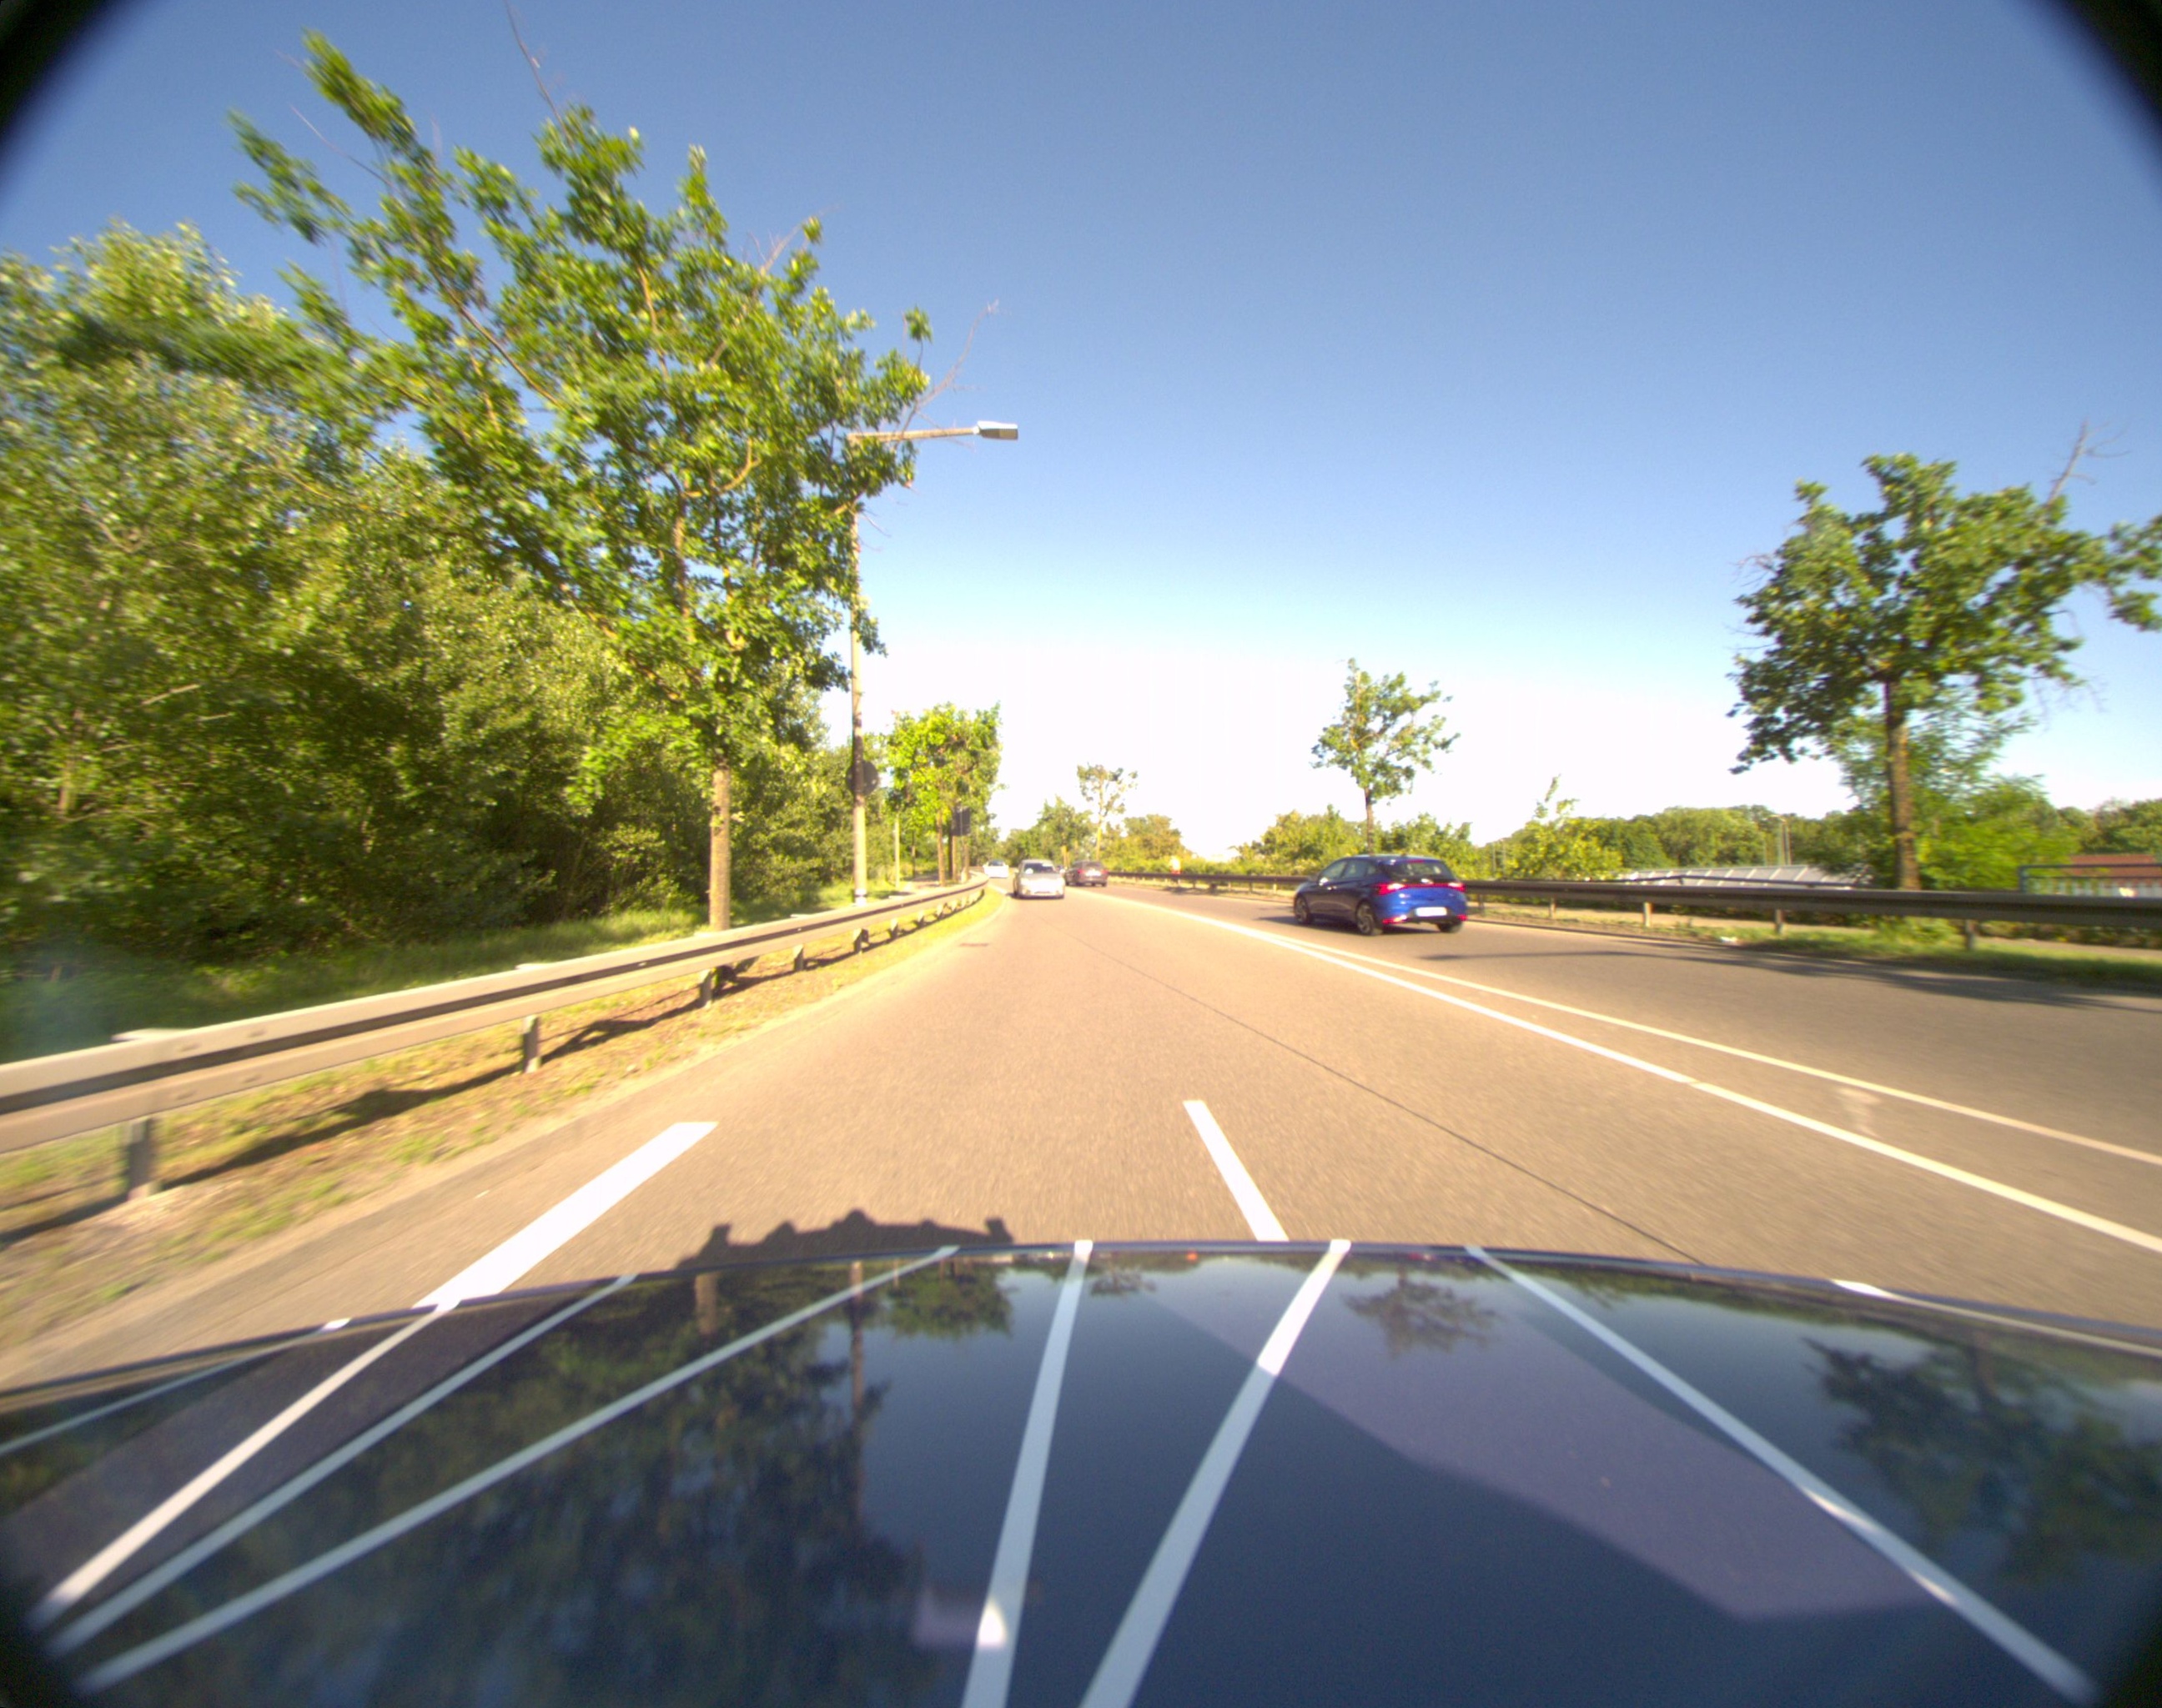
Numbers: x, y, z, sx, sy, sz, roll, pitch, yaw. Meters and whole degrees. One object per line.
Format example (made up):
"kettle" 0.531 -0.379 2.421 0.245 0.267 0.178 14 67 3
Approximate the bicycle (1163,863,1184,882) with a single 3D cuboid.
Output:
"bicycle" 5.400 1.074 44.402 0.662 1.089 2.106 0 0 -10

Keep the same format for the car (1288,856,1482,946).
"car" 5.561 0.782 14.442 1.670 1.437 3.846 -1 0 -9

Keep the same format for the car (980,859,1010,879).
"car" -7.309 1.257 64.501 2.152 1.558 4.194 1 0 -11

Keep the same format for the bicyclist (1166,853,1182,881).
"bicyclist" 5.420 0.739 44.323 0.653 1.614 0.873 0 0 -11

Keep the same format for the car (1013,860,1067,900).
"car" -1.628 0.953 29.215 1.684 1.433 3.855 0 0 -9

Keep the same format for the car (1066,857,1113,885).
"car" 0.399 0.929 43.219 1.816 1.488 4.365 0 0 -11
